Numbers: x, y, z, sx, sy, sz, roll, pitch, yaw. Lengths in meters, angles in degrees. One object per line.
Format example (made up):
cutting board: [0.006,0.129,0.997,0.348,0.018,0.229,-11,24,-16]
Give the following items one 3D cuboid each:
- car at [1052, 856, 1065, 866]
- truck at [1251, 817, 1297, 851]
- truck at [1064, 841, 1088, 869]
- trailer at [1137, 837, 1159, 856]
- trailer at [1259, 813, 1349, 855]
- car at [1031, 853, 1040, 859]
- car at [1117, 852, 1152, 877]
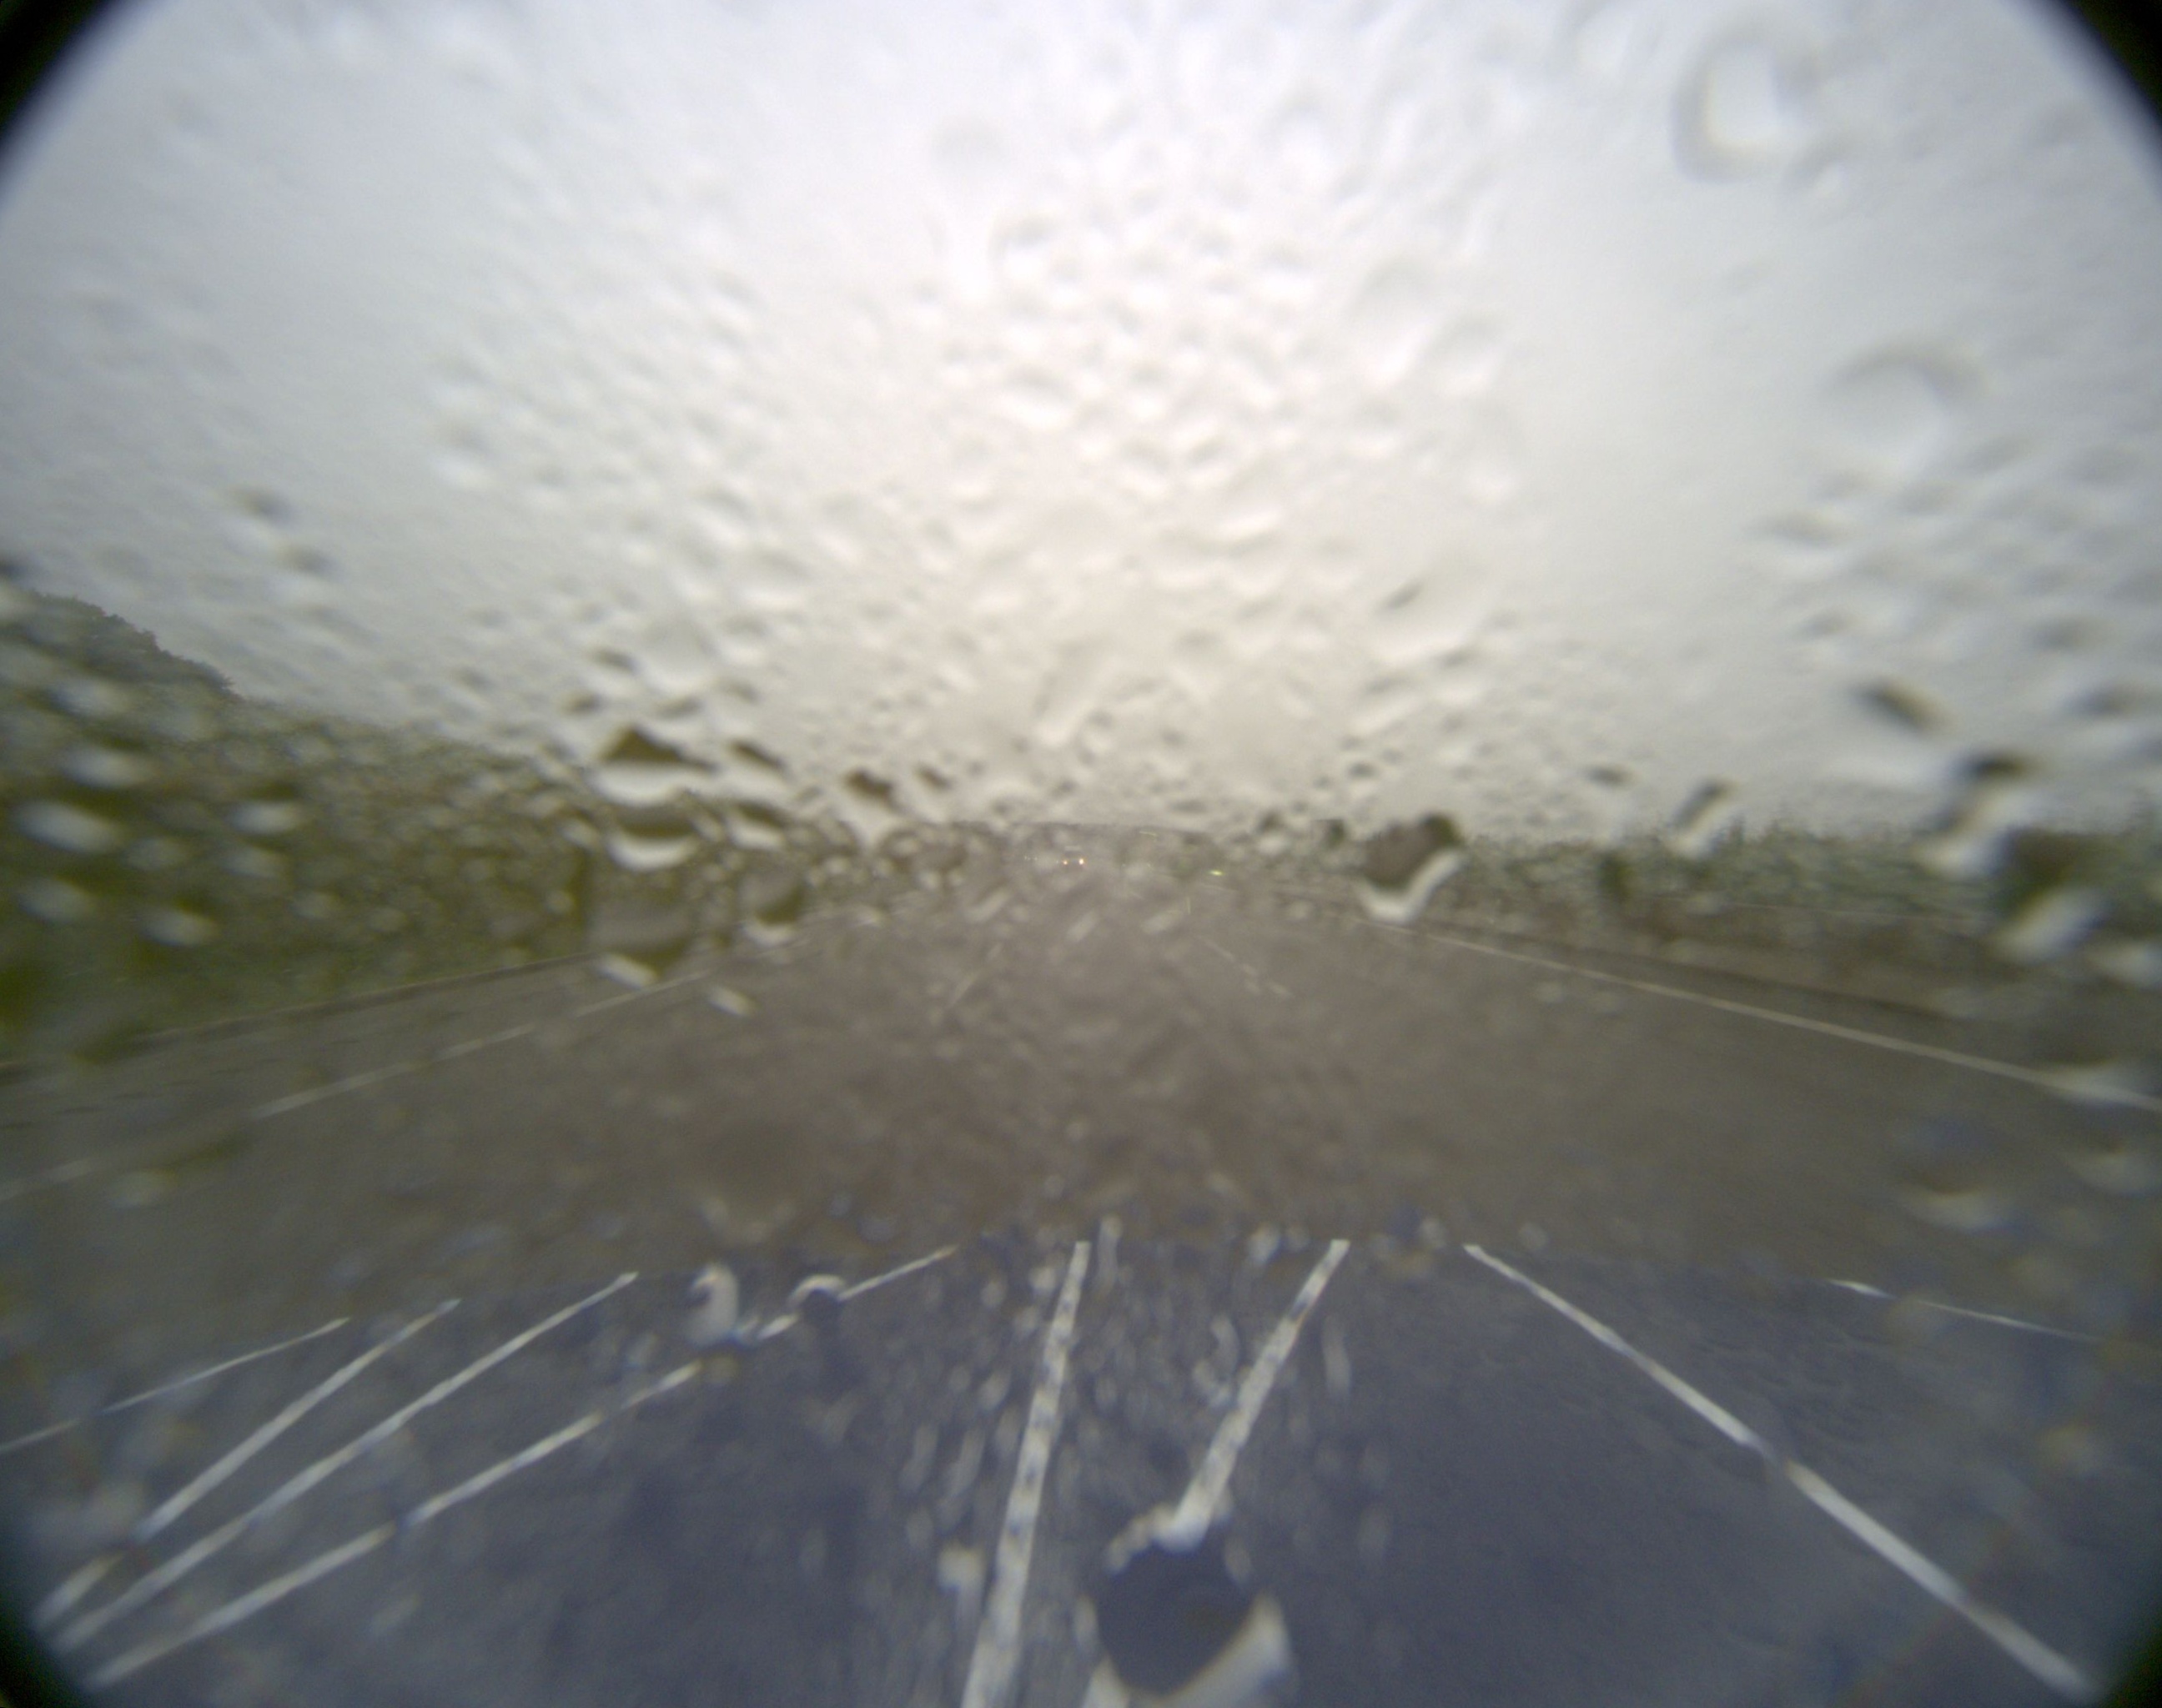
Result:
car: [-3.774,1.143,126.669,1.999,1.521,3.998,-1,0,-6]
truck: [18.948,-1.993,75.040,3.001,3.106,5.594,-2,2,-1]
truck: [-0.607,0.037,78.627,1.999,2.699,7.995,-2,2,-3]
trailer: [14.608,-1.538,166.473,2.952,3.959,14.302,-1,0,-2]
trailer: [19.177,-1.777,66.892,2.996,3.126,15.713,-2,2,-1]
car: [-11.773,0.569,196.634,1.999,1.543,3.999,-2,0,-3]
car: [3.638,0.711,52.554,1.999,1.608,3.999,-1,0,-1]
